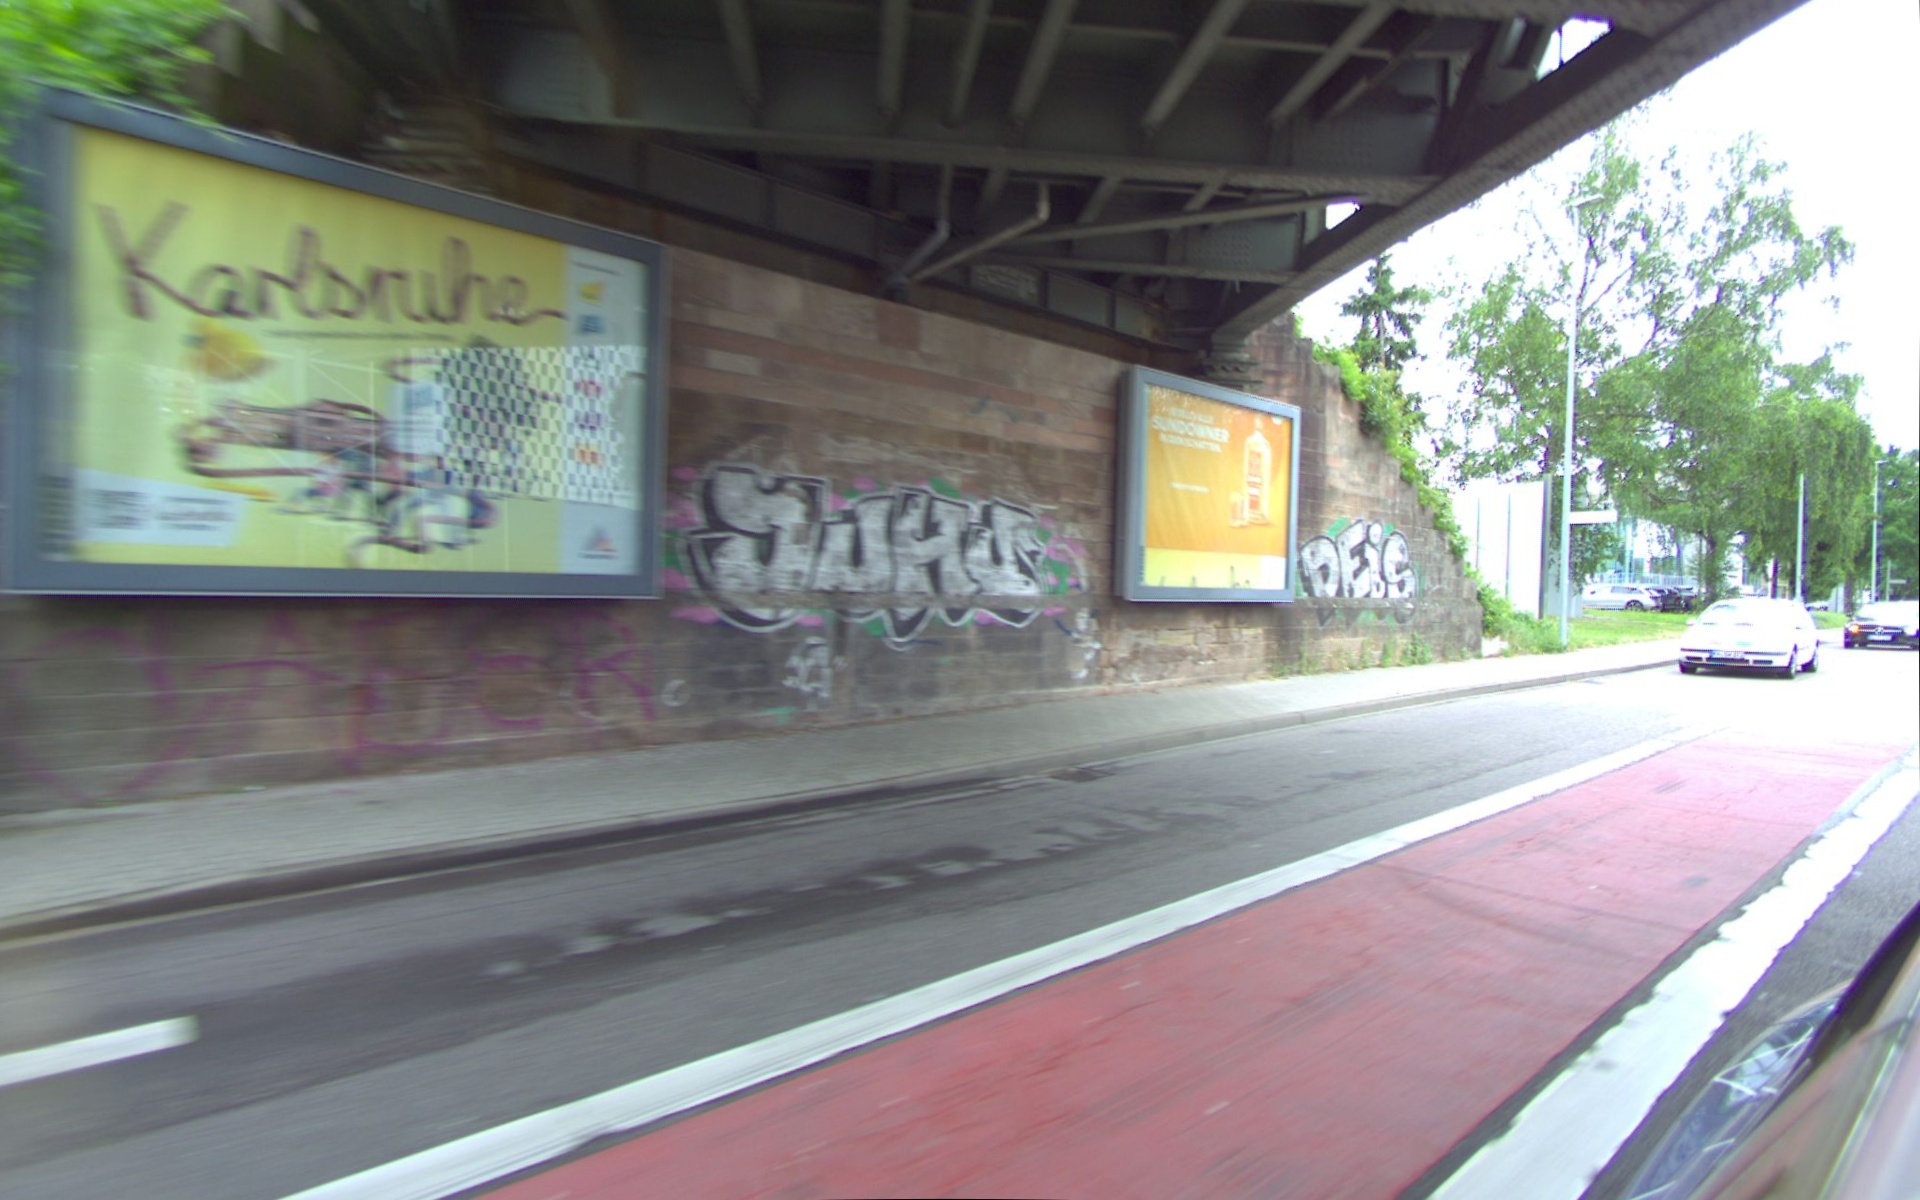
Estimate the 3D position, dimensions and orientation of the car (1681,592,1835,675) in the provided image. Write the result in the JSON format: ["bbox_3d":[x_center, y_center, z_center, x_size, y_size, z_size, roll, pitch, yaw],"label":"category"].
[{"bbox_3d":[15.526,0.596,19.623,3.873,1.442,1.724,1,0,-42],"label":"car"}]

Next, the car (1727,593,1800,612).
[{"bbox_3d":[60.464,0.214,76.162,1.763,1.395,4.052,1,-1,-40],"label":"car"}]

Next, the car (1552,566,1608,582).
[{"bbox_3d":[59.912,-2.463,97.770,1.801,1.381,4.301,1,-1,-43],"label":"car"}]

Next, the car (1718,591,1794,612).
[{"bbox_3d":[58.644,0.132,74.629,1.709,1.450,4.194,1,-1,-41],"label":"car"}]

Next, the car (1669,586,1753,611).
[{"bbox_3d":[45.432,-0.080,61.264,1.920,1.441,3.755,1,-1,-42],"label":"car"}]

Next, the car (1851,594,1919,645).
[{"bbox_3d":[28.526,0.567,30.693,3.931,1.442,1.835,1,0,-42],"label":"car"}]

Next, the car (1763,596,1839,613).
[{"bbox_3d":[71.534,0.416,86.107,1.869,1.442,4.758,1,-1,-41],"label":"car"}]

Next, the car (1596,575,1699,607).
[{"bbox_3d":[37.251,-0.455,54.912,1.936,1.621,4.301,1,-1,-43],"label":"car"}]

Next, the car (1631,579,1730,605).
[{"bbox_3d":[41.364,-0.418,58.153,1.868,1.400,4.305,1,-1,-40],"label":"car"}]

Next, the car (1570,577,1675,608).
[{"bbox_3d":[34.230,-0.383,52.347,4.297,1.508,1.712,2,1,44],"label":"car"}]

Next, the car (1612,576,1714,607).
[{"bbox_3d":[39.238,-0.433,56.557,1.934,1.621,4.305,1,-1,-40],"label":"car"}]
